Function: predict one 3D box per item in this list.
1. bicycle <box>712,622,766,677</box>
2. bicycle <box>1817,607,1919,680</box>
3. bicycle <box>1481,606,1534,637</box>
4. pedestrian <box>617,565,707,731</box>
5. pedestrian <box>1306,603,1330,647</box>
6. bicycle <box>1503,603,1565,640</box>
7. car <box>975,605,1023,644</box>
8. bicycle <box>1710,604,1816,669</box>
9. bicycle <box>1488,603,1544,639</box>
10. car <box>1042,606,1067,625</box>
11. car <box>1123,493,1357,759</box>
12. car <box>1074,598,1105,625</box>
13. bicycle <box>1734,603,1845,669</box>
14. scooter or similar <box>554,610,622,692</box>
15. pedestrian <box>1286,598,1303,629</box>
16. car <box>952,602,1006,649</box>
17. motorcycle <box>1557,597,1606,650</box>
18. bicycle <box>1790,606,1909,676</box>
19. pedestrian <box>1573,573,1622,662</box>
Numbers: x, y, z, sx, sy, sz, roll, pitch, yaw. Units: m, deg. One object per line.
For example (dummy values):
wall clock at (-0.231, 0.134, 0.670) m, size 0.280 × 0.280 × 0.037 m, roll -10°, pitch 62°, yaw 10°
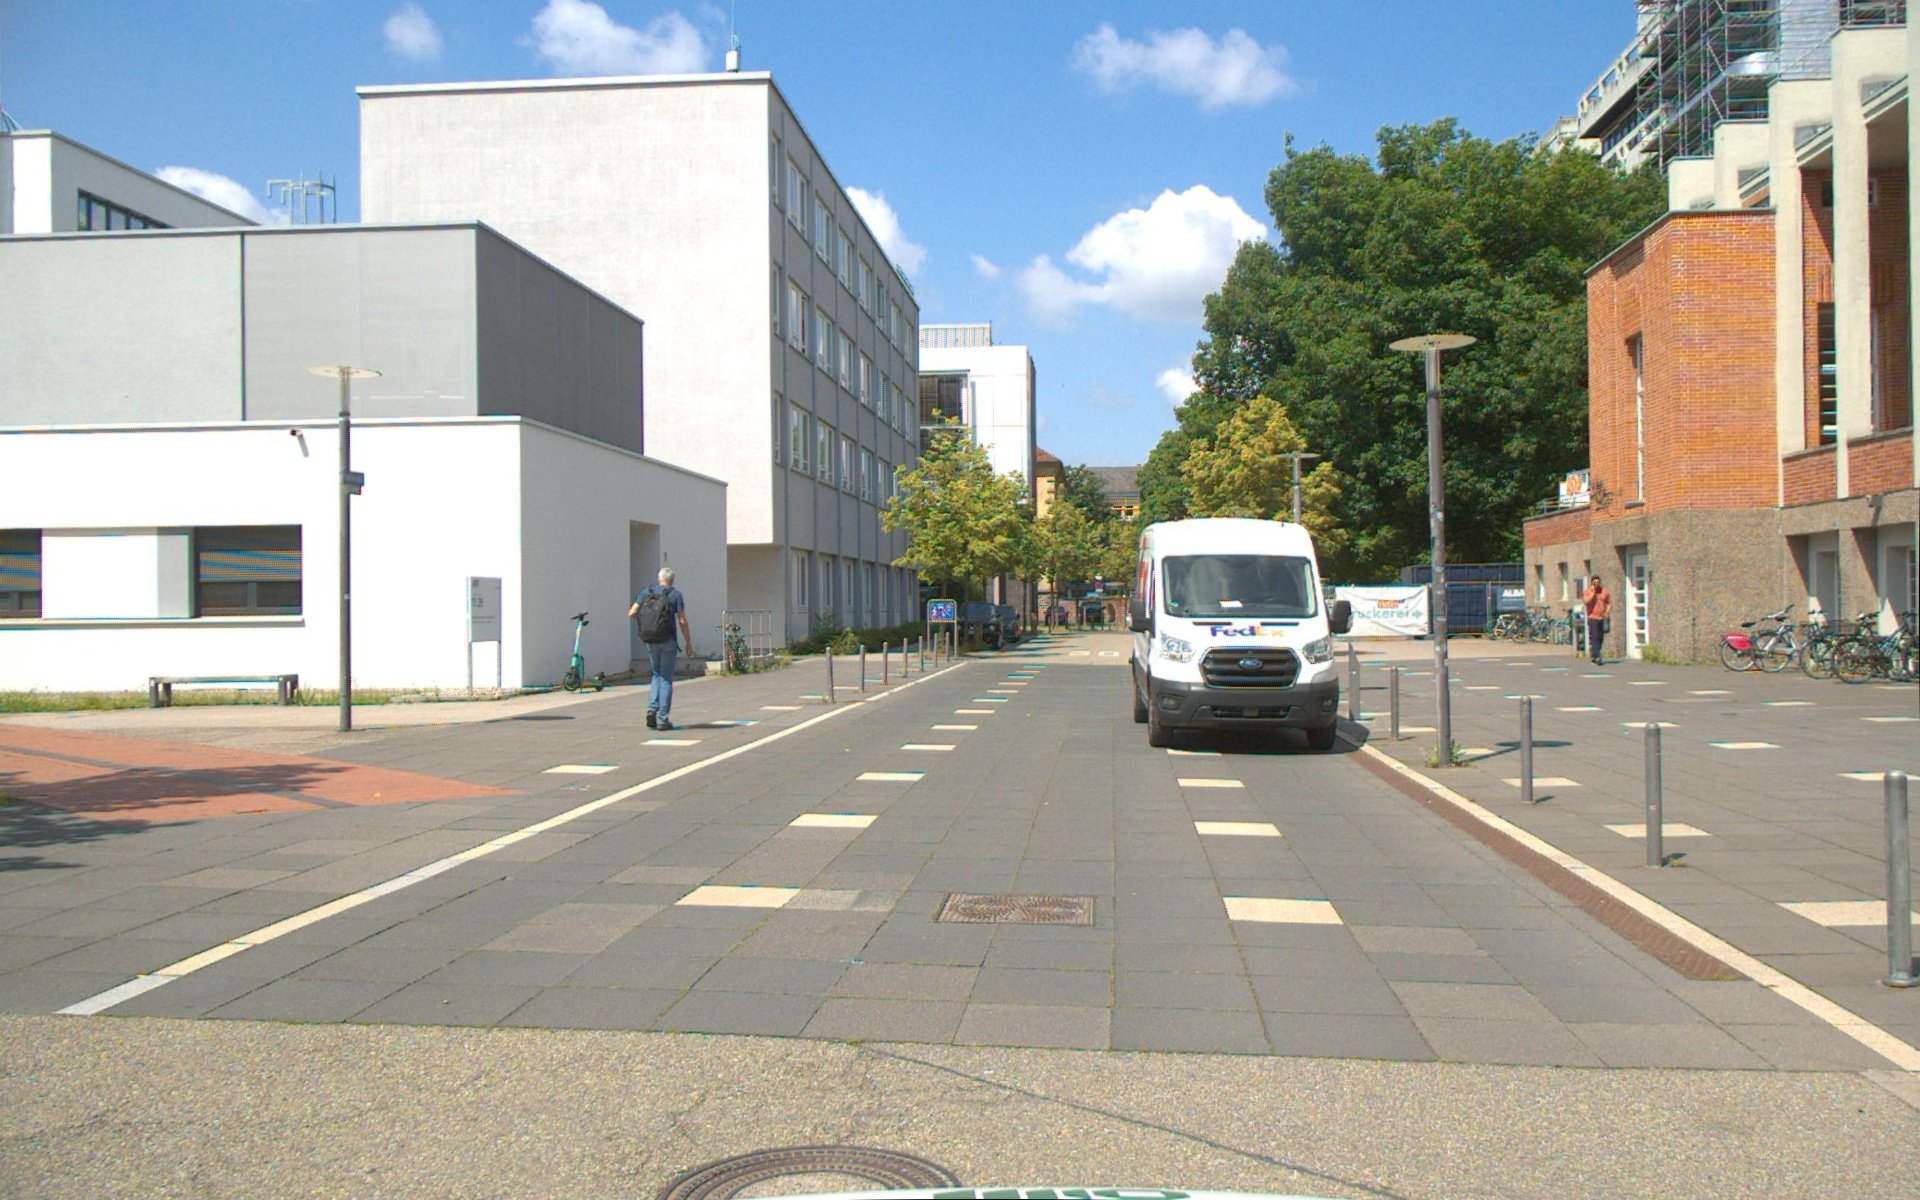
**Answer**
bicycle at (-4.511, 0.998, 33.909) m, size 0.531 × 1.080 × 1.901 m, roll -1°, pitch 0°, yaw 10°
bicycle at (14.430, 0.679, 26.000) m, size 1.647 × 1.129 × 0.436 m, roll -1°, pitch 0°, yaw 3°
bicycle at (18.575, 0.728, 56.121) m, size 1.636 × 1.021 × 0.448 m, roll -1°, pitch -1°, yaw 5°
pedestrian at (-3.410, 0.540, 19.032) m, size 0.806 × 1.849 × 1.144 m, roll -1°, pitch -1°, yaw 0°
pedestrian at (11.354, 0.789, 52.439) m, size 0.681 × 1.354 × 0.716 m, roll -1°, pitch -1°, yaw 9°
bicycle at (17.963, 0.686, 51.743) m, size 1.767 × 1.129 × 0.448 m, roll -1°, pitch -1°, yaw 5°
car at (1.591, 0.962, 66.364) m, size 1.740 × 1.486 × 4.261 m, roll 1°, pitch 0°, yaw 3°
bicycle at (14.970, 0.681, 30.843) m, size 1.716 × 1.170 × 0.436 m, roll -1°, pitch 0°, yaw 3°
bicycle at (18.074, 0.689, 53.801) m, size 1.665 × 1.129 × 0.448 m, roll -1°, pitch -1°, yaw 5°
car at (6.990, 1.162, 121.832) m, size 1.779 × 1.347 × 3.769 m, roll -1°, pitch -1°, yaw 4°
car at (3.052, 0.268, 19.255) m, size 2.016 × 2.588 × 5.852 m, roll -1°, pitch 0°, yaw 3°
car at (9.507, 0.837, 121.640) m, size 2.129 × 1.959 × 5.188 m, roll -1°, pitch -1°, yaw 3°
bicycle at (14.988, 0.649, 29.911) m, size 1.716 × 1.170 × 0.518 m, roll -1°, pitch 0°, yaw 3°
scooter or similar at (-6.001, 0.815, 26.735) m, size 0.472 × 1.285 × 1.314 m, roll -1°, pitch 0°, yaw 17°
pedestrian at (18.568, 0.737, 91.855) m, size 0.735 × 1.740 × 0.558 m, roll 0°, pitch -1°, yaw -31°
car at (0.700, 0.881, 58.149) m, size 1.661 × 1.591 × 4.069 m, roll -1°, pitch 0°, yaw 3°
motorcycle at (16.288, 0.596, 43.395) m, size 0.681 × 1.346 × 2.221 m, roll -1°, pitch 0°, yaw 7°
bicycle at (14.767, 0.670, 27.478) m, size 1.710 × 1.129 × 0.436 m, roll -1°, pitch 0°, yaw 3°
pedestrian at (13.494, 0.368, 35.023) m, size 0.649 × 1.866 × 0.906 m, roll -1°, pitch -1°, yaw -2°
